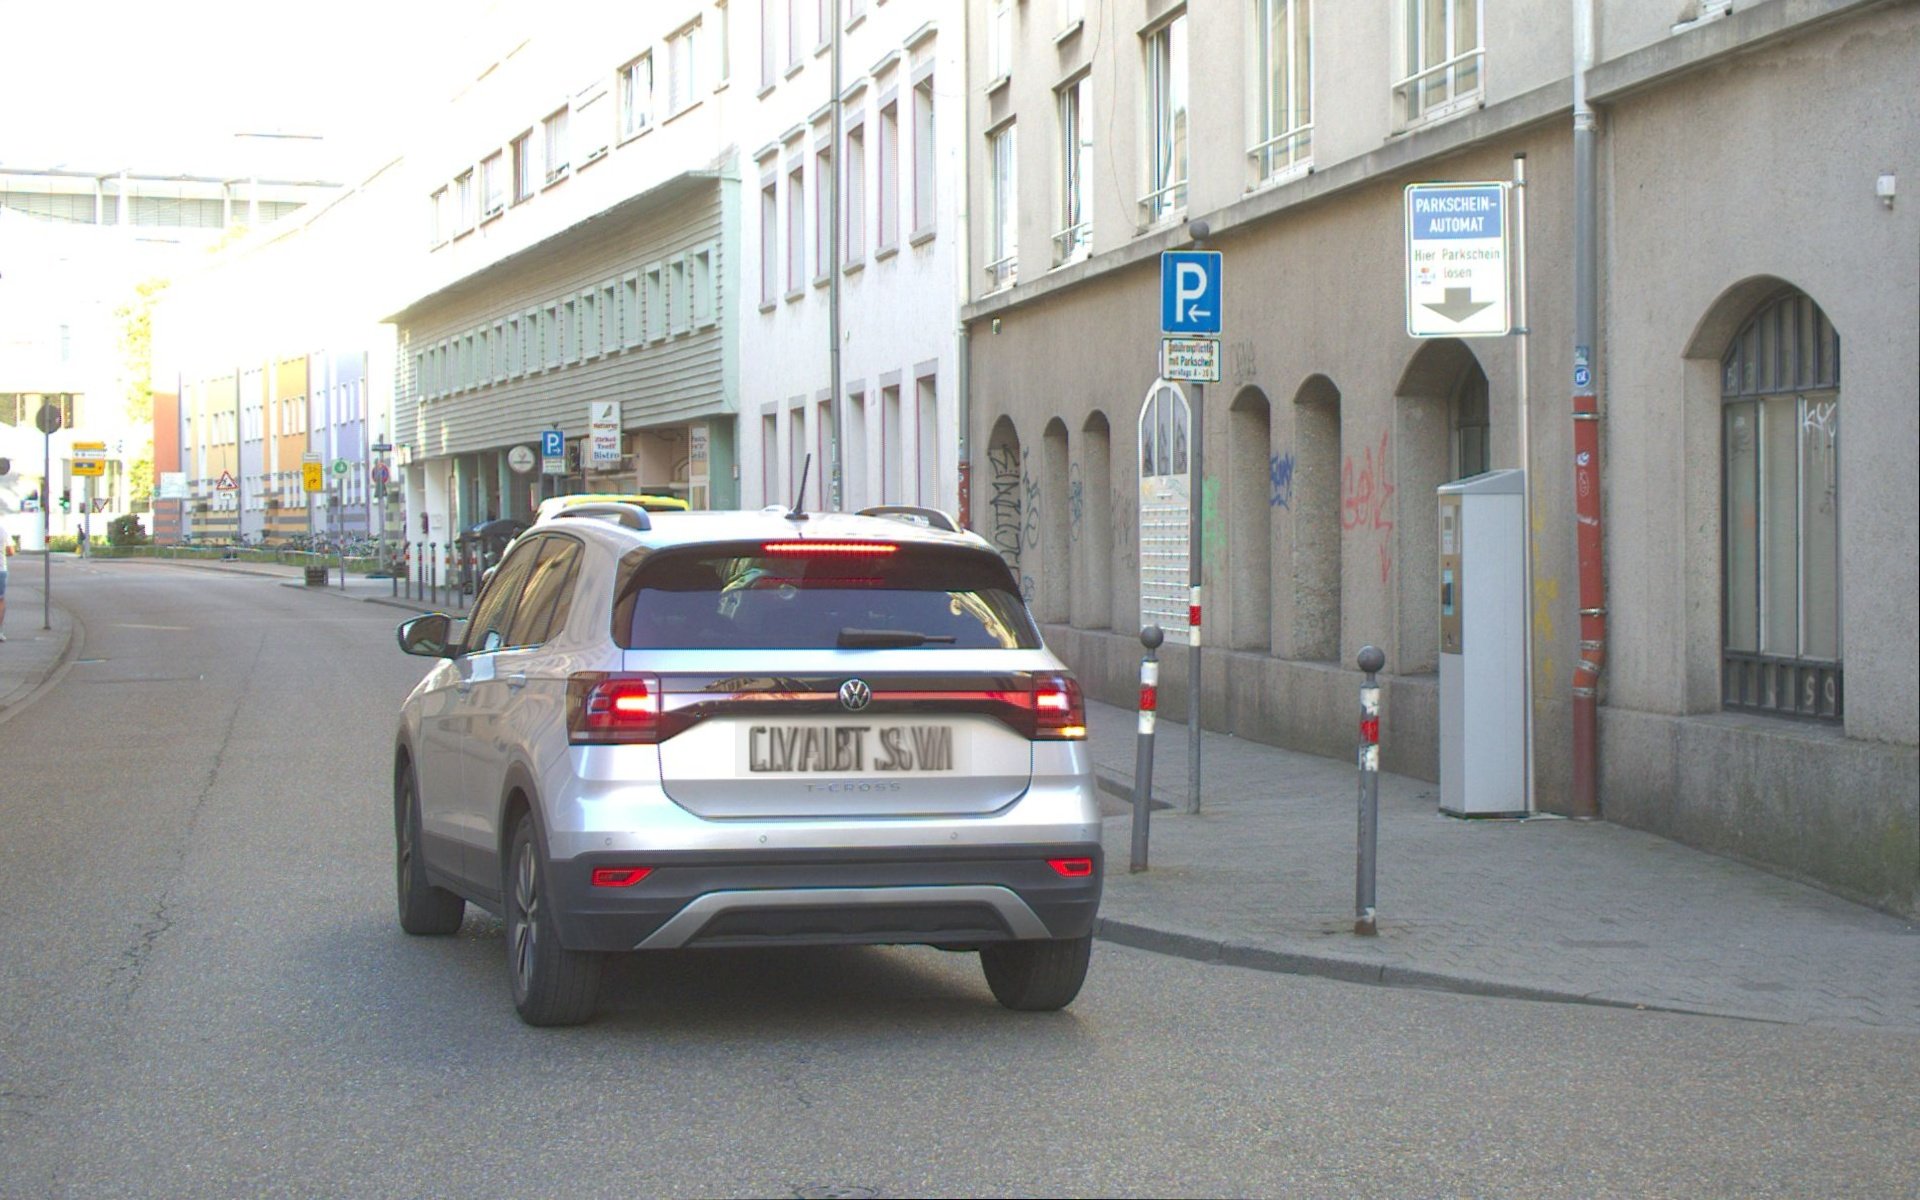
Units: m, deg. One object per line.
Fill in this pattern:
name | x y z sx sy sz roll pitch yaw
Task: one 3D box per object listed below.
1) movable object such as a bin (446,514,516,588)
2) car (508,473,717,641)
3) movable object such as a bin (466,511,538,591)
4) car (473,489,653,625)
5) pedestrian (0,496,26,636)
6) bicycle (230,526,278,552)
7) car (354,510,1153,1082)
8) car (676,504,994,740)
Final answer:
movable object such as a bin | -9.643 -0.996 69.185 1.131 1.474 1.740 0 1 -17
car | -4.443 -0.579 43.381 2.052 2.007 4.176 0 2 -14
movable object such as a bin | -9.003 -0.978 67.498 1.131 1.552 1.740 0 1 -17
car | -5.719 -0.648 49.135 2.052 1.866 4.102 0 2 -14
pedestrian | -11.934 -0.424 42.454 0.765 1.718 0.687 0 1 -15
bicycle | -26.989 -2.320 131.478 1.780 0.997 0.547 0 1 -15
car | -0.891 0.486 11.637 1.836 1.557 4.001 -1 2 -16
car | -1.067 0.110 27.008 1.967 1.686 4.102 1 1 -9
